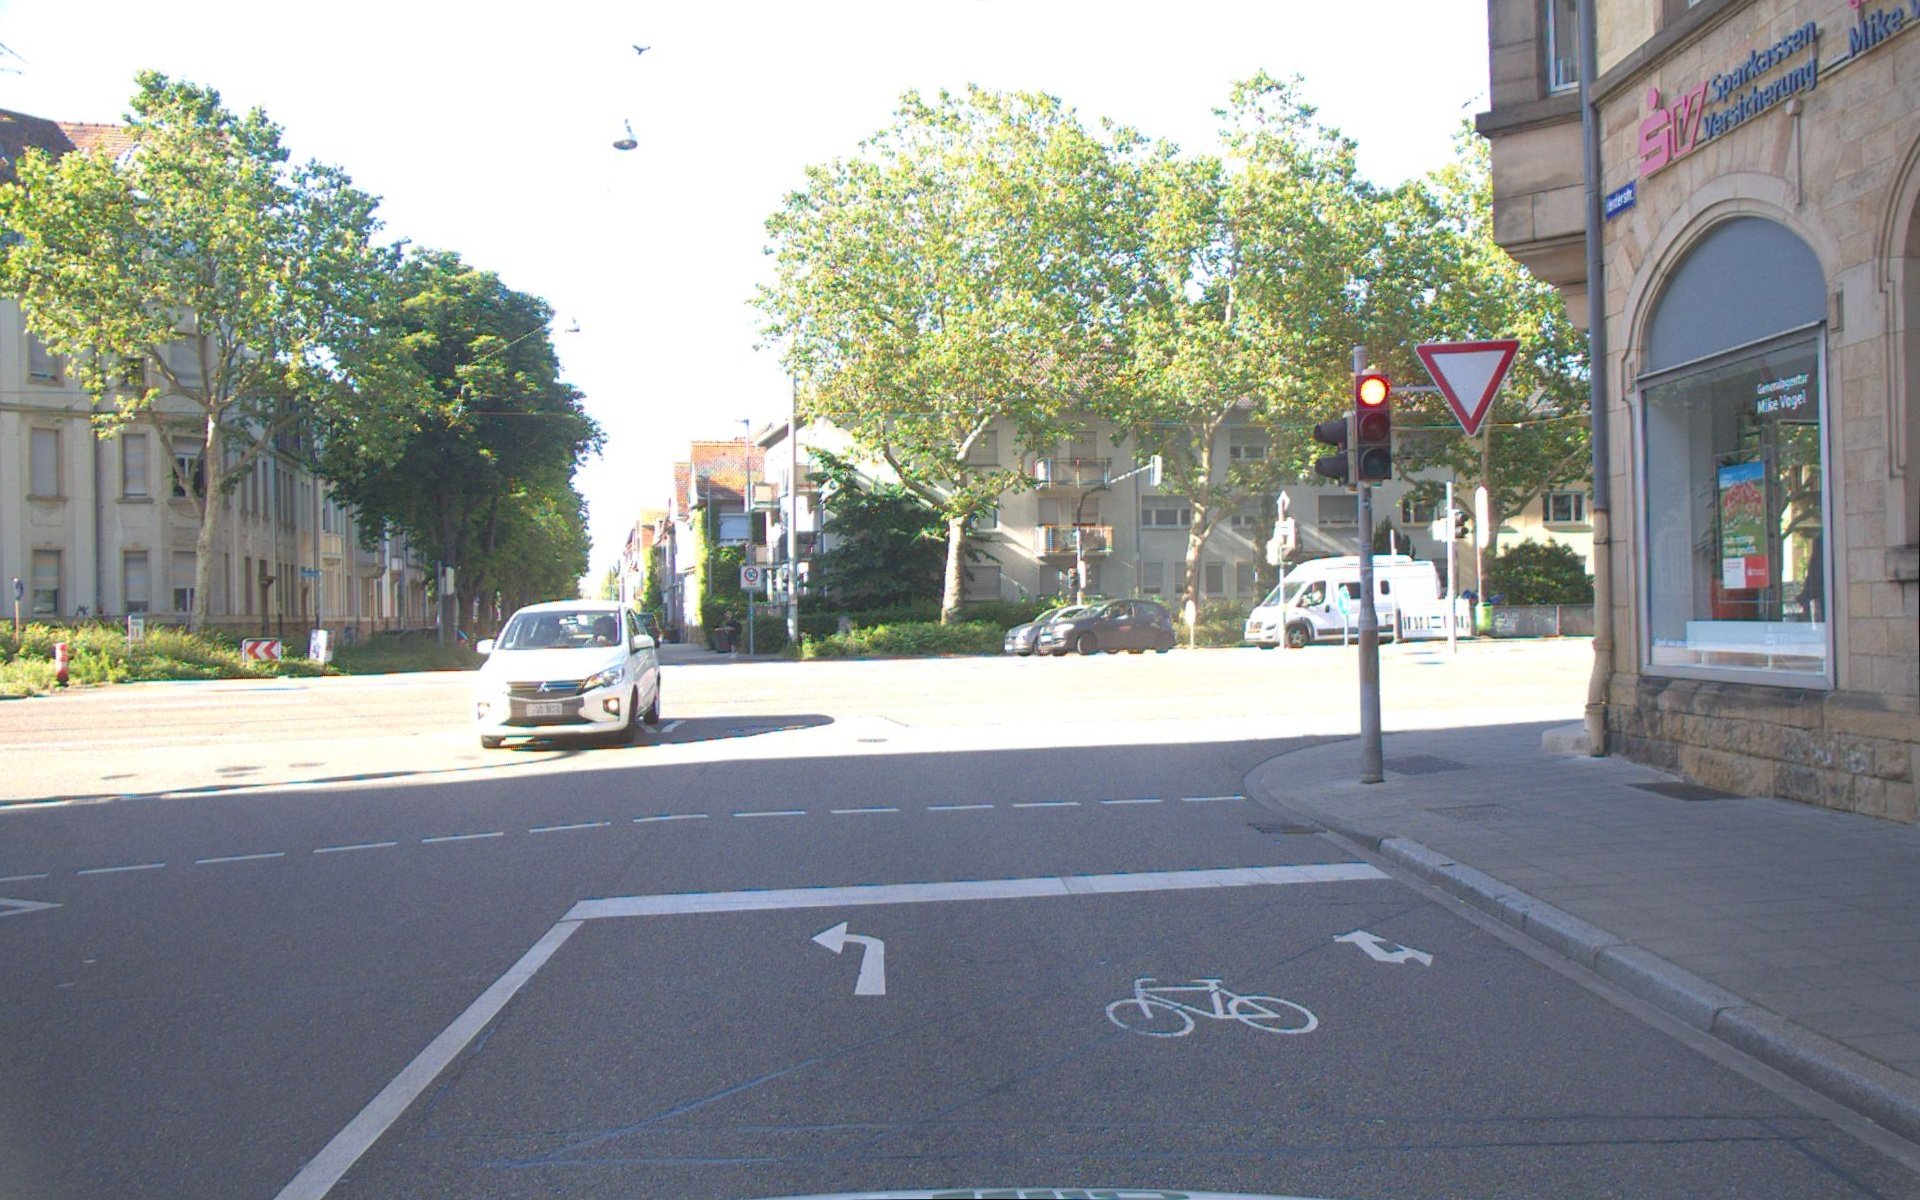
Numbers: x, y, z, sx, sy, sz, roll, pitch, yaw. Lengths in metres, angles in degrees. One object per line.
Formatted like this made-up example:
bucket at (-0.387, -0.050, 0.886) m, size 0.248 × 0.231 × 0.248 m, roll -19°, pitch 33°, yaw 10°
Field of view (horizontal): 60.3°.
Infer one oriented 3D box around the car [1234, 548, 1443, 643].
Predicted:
car at (11.358, -0.162, 49.652) m, size 5.949 × 2.613 × 1.989 m, roll -2°, pitch 0°, yaw -19°

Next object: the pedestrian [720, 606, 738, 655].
pedestrian at (-8.394, 1.114, 60.046) m, size 0.622 × 1.780 × 0.657 m, roll 0°, pitch -1°, yaw -11°

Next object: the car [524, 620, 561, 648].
car at (-24.073, 1.945, 95.287) m, size 1.960 × 1.471 × 3.984 m, roll -2°, pitch 0°, yaw -15°

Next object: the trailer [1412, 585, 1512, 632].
trailer at (15.497, 0.252, 51.068) m, size 2.699 × 1.334 × 1.263 m, roll -2°, pitch 0°, yaw -20°

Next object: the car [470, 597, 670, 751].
car at (-4.265, 0.743, 18.584) m, size 1.593 × 1.498 × 3.796 m, roll -2°, pitch 0°, yaw -5°

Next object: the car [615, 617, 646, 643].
car at (-24.941, 2.254, 124.983) m, size 1.961 × 1.865 × 3.982 m, roll 0°, pitch -1°, yaw -16°

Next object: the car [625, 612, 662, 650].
car at (-18.082, 1.768, 94.523) m, size 1.957 × 2.049 × 3.990 m, roll -2°, pitch 0°, yaw -10°

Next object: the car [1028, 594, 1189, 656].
car at (3.913, 0.643, 43.541) m, size 3.937 × 1.476 × 1.645 m, roll -2°, pitch 0°, yaw -26°

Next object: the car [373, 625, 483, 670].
car at (-20.451, 1.807, 63.643) m, size 3.928 × 1.512 × 1.672 m, roll -2°, pitch 0°, yaw -20°

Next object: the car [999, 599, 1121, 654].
car at (3.018, 0.773, 49.843) m, size 3.333 × 1.513 × 1.514 m, roll -2°, pitch 0°, yaw -23°
